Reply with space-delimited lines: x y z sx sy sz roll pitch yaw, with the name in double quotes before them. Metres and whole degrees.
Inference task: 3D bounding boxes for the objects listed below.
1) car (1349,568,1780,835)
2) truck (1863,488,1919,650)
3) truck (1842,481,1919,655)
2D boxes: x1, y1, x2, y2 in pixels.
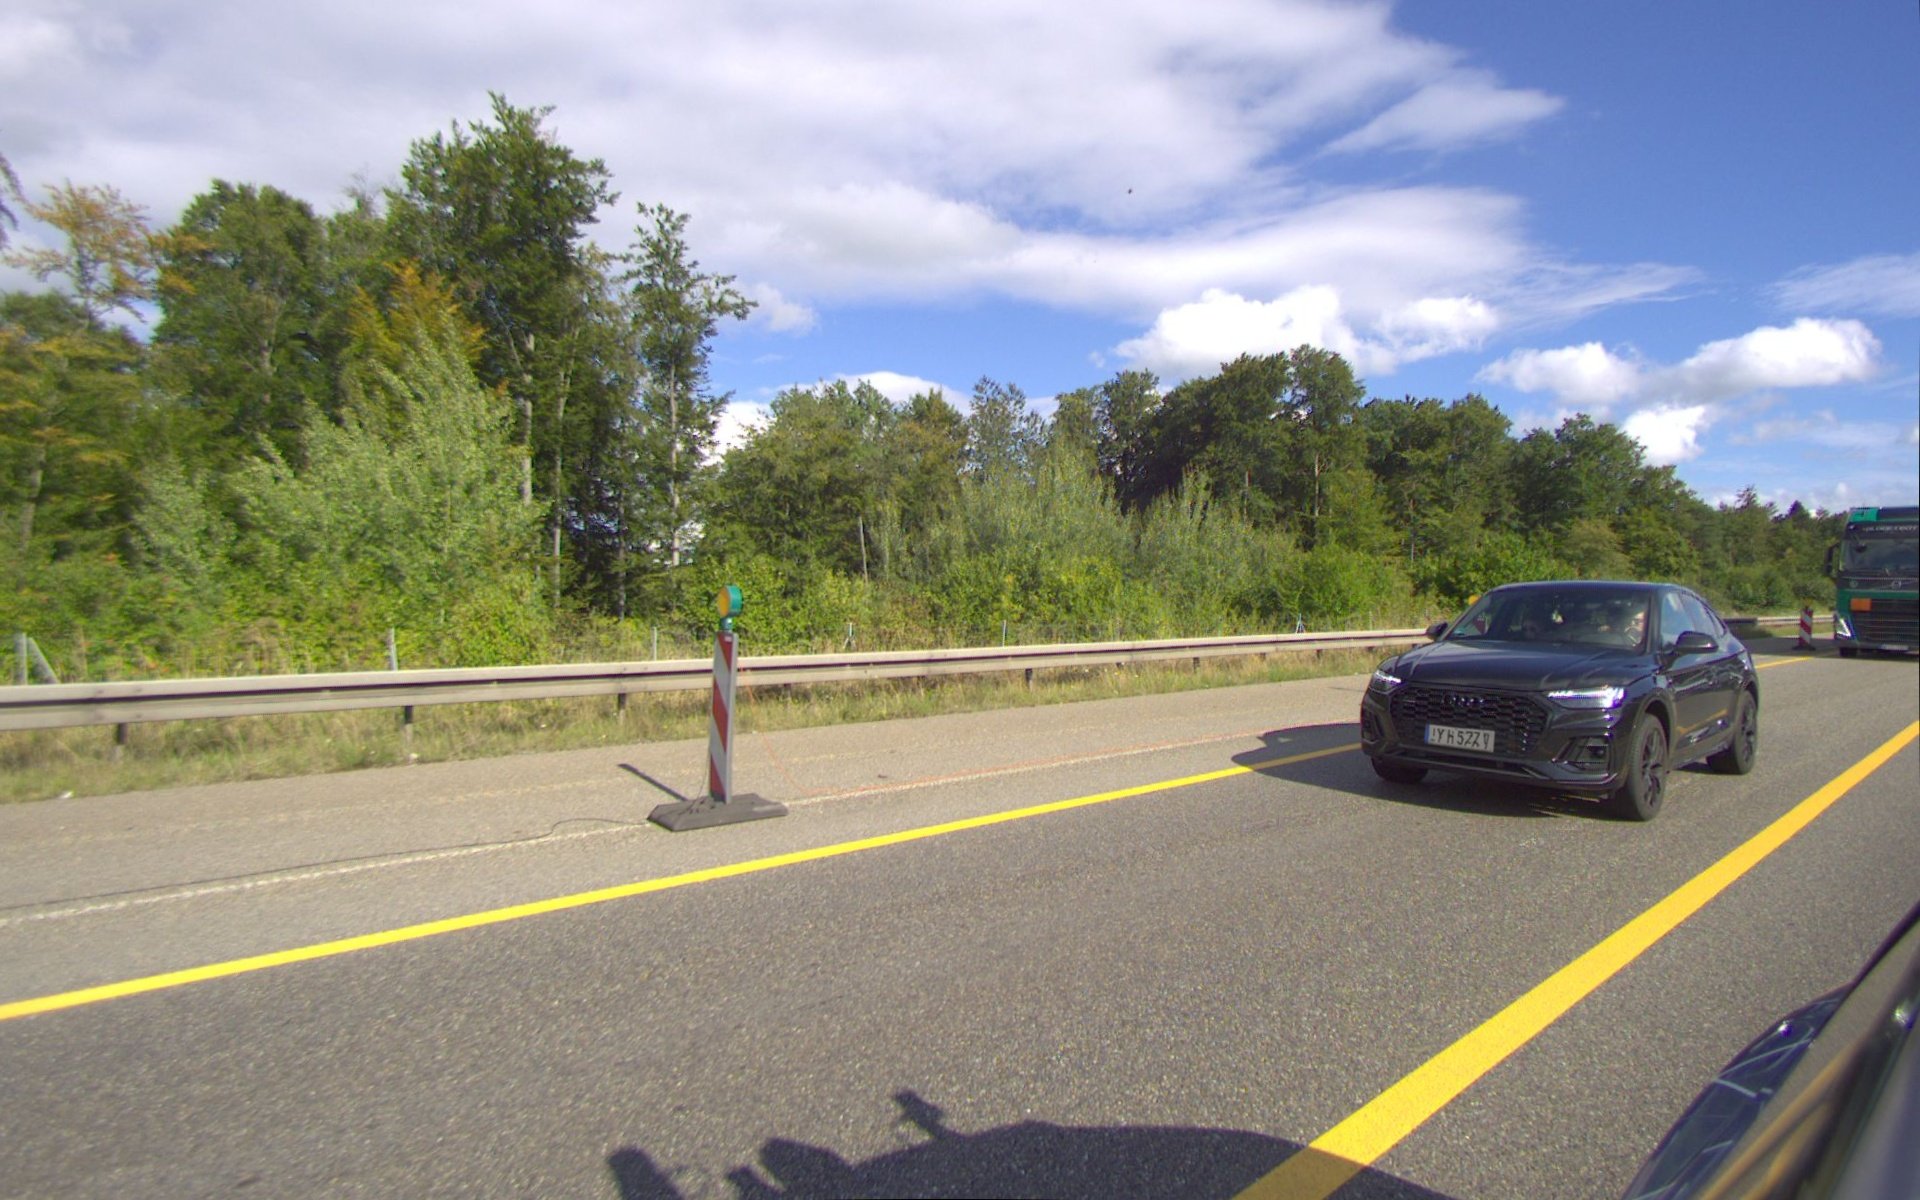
"car" 5.061 0.591 8.223 4.219 1.622 1.781 -1 1 -41
"truck" 30.123 -0.775 30.627 13.961 4.196 2.468 0 0 -41
"truck" 25.306 -0.793 26.433 6.737 4.151 2.526 -1 0 -41
